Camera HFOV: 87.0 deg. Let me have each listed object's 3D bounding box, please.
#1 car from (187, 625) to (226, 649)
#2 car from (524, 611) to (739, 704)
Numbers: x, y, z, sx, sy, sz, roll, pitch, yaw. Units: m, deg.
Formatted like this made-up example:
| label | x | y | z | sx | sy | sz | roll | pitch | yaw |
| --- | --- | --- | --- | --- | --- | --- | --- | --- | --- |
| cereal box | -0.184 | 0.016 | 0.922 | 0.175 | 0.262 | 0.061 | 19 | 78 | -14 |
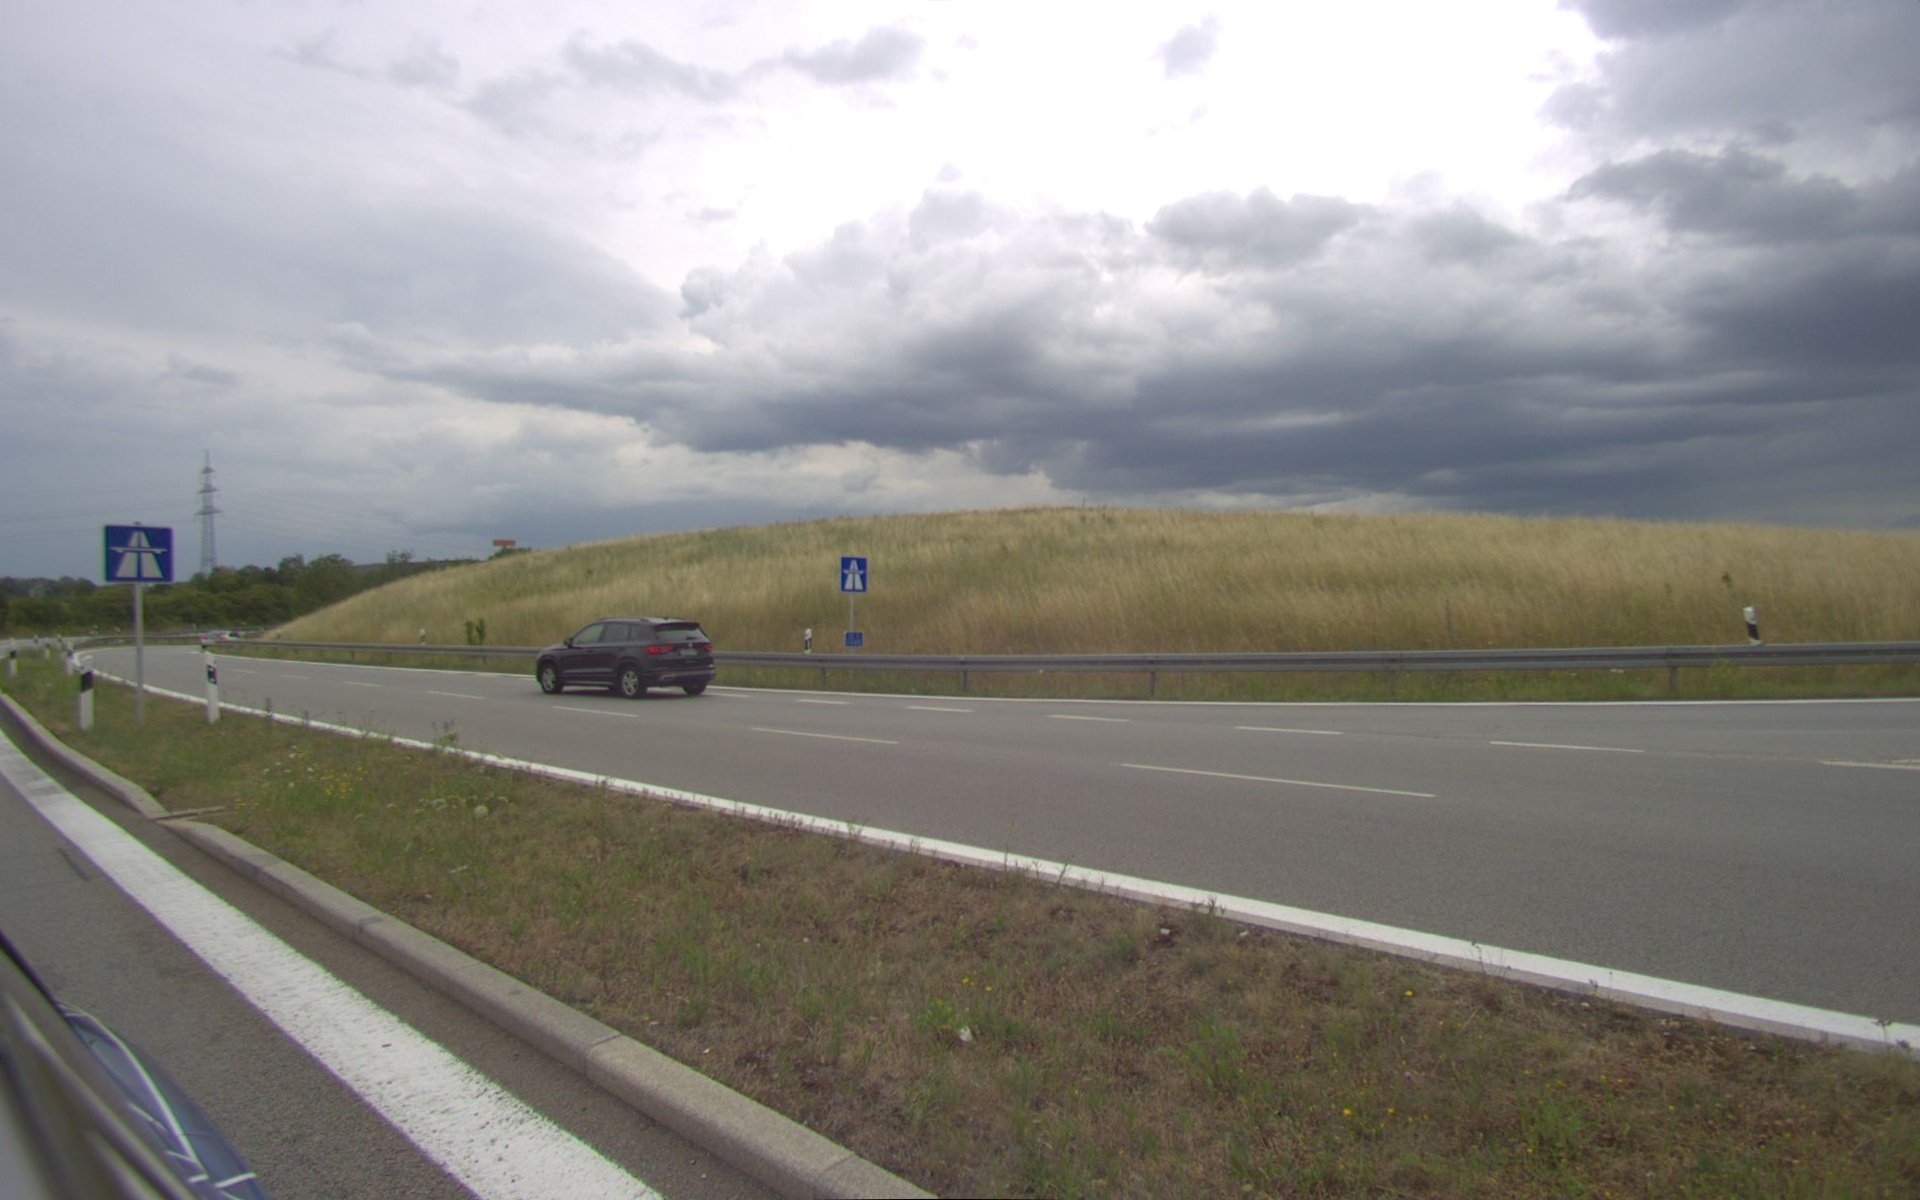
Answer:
| label | x | y | z | sx | sy | sz | roll | pitch | yaw |
| --- | --- | --- | --- | --- | --- | --- | --- | --- | --- |
| car | -57.879 | 2.812 | 77.779 | 1.966 | 1.696 | 4.126 | -1 | 0 | -31 |
| car | -6.738 | 1.095 | 20.709 | 4.097 | 1.696 | 1.980 | -1 | 0 | 30 |
